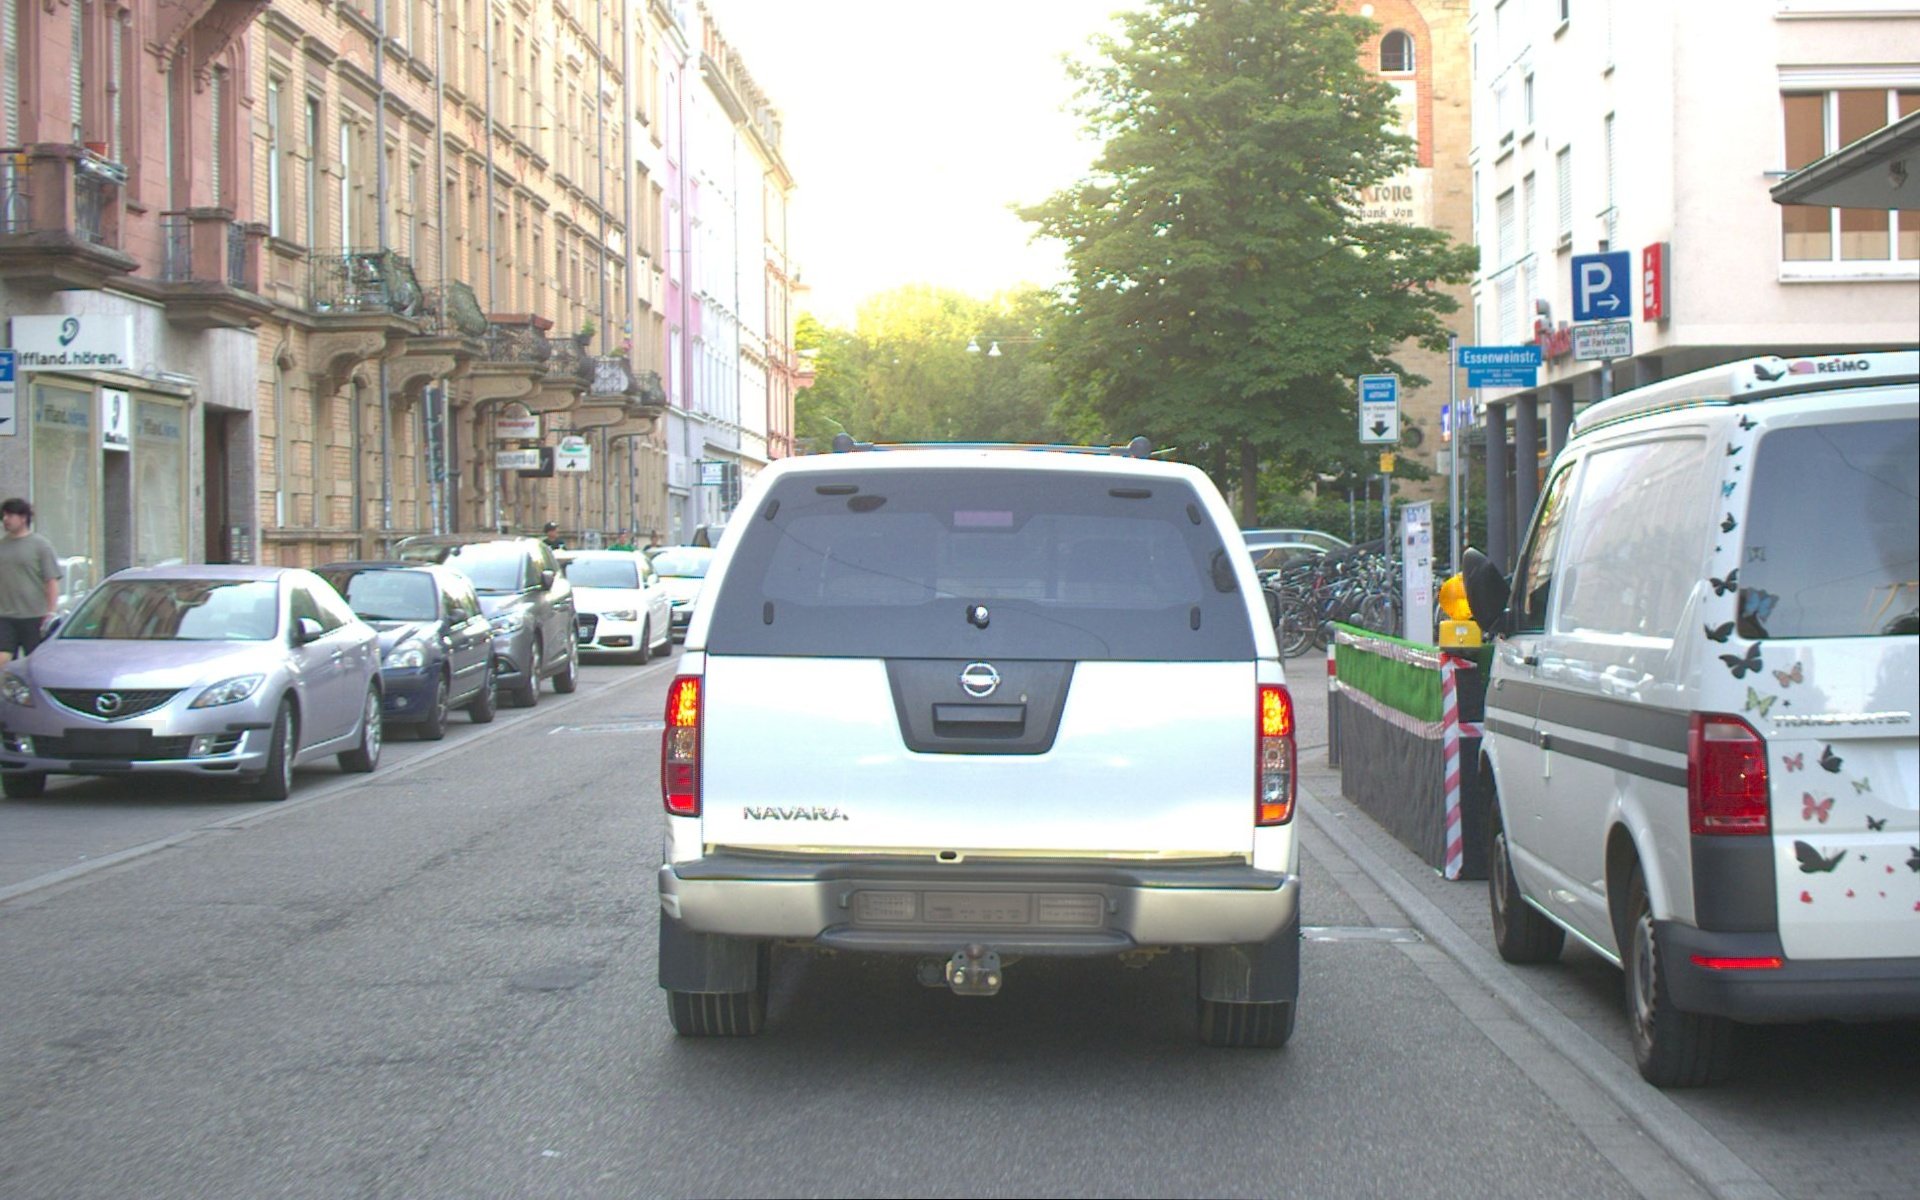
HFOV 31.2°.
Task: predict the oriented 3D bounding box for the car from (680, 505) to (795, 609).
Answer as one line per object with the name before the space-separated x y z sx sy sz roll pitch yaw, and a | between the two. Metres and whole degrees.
car | -4.311 -0.850 67.150 1.993 1.917 4.952 1 1 -1

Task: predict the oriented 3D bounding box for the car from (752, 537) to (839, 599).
car | -4.111 -0.806 86.295 1.834 1.453 4.206 2 1 1

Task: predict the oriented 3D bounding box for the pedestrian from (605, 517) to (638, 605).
pedestrian | -6.955 -0.805 70.677 0.580 1.765 0.998 2 2 -3

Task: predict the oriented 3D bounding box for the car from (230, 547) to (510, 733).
car | -4.857 0.286 28.720 1.585 1.416 3.696 0 1 2

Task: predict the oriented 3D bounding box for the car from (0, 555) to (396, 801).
car | -4.958 0.425 22.390 1.723 1.416 4.582 1 1 1

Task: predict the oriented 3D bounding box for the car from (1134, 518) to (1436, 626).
car | 5.072 -0.448 54.047 4.422 1.450 1.780 -3 1 -4

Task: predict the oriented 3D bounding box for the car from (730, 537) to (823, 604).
car | -4.031 -0.645 76.208 1.736 1.413 4.778 1 0 1

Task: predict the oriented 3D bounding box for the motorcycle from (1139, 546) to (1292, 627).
motorcycle | 3.712 -0.198 49.984 2.057 1.074 0.664 -3 0 -14

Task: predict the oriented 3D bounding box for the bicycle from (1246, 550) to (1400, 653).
bicycle | 4.243 0.017 40.258 1.722 1.114 0.707 -3 0 5

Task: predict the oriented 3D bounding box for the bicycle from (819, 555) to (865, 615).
bicycle | -2.246 -0.289 65.425 0.645 1.077 2.168 -2 1 3

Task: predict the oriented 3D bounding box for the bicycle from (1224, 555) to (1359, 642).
bicycle | 4.457 -0.023 46.280 1.719 1.028 0.667 -4 0 4

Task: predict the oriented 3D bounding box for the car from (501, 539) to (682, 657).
car | -4.710 -0.066 44.498 1.758 1.407 4.508 0 1 1

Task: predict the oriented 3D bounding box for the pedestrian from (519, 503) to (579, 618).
pedestrian | -6.340 -0.598 53.046 0.554 1.749 1.021 0 0 16

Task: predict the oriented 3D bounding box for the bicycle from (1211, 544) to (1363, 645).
bicycle | 4.277 -0.073 44.914 1.869 1.178 0.742 -4 0 6

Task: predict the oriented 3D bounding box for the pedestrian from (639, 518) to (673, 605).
pedestrian | -6.282 -0.801 70.965 0.605 1.766 0.777 2 2 -3

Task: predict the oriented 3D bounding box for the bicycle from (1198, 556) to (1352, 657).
bicycle | 3.760 0.075 41.133 1.722 1.114 0.707 -3 0 0

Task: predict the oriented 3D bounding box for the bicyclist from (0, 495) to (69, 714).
bicyclist | -7.500 0.037 27.456 0.708 1.724 0.843 0 0 -12

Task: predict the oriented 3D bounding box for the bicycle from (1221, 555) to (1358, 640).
bicycle | 4.484 -0.032 46.899 1.773 1.019 0.565 -4 0 4

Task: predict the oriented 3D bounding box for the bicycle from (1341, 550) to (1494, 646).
bicycle | 5.428 -0.022 40.825 1.722 1.050 0.653 -3 0 5

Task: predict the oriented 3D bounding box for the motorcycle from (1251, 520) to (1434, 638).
motorcycle | 5.443 -0.295 49.028 2.492 1.544 0.824 -3 0 4

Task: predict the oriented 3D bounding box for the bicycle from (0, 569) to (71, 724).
bicycle | -7.496 0.361 27.427 0.708 1.192 1.742 0 0 -12

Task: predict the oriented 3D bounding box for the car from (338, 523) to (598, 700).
car | -4.808 0.056 34.146 1.853 1.628 4.446 0 1 1

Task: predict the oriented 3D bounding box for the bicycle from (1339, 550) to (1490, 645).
bicycle | 5.478 -0.032 41.495 1.722 1.050 0.653 -3 0 5

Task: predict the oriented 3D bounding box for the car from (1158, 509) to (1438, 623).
car | 5.550 -0.568 56.797 4.399 1.642 1.746 -3 1 1

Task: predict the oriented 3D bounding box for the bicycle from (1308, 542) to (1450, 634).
bicycle | 5.483 -0.161 45.027 1.722 1.114 0.654 -3 0 -1

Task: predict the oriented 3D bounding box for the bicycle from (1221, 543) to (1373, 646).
bicycle | 4.327 -0.074 44.070 1.789 1.178 0.733 -4 0 12

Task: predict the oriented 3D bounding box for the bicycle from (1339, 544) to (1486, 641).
bicycle | 5.604 -0.098 42.649 1.722 1.114 0.653 -3 0 5

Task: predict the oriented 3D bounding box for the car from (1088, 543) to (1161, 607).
car | 4.123 -0.655 86.768 1.676 1.424 4.478 -4 1 2

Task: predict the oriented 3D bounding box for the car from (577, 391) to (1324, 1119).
car | 0.138 0.373 11.531 1.911 1.847 5.270 1 1 4

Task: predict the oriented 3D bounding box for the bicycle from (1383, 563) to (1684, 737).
bicycle | 3.974 0.355 23.897 1.943 1.131 0.656 -2 0 39

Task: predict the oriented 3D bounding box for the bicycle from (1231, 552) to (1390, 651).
bicycle | 4.265 0.013 41.908 1.809 1.114 0.707 -3 0 0

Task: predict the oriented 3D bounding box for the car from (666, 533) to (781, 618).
car | -4.208 -0.463 61.736 1.783 1.418 4.486 1 1 -1

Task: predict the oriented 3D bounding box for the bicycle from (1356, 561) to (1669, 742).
bicycle | 3.675 0.353 22.963 1.943 1.131 0.656 -2 0 39

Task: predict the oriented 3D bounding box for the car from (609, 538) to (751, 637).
car | -4.349 -0.219 53.836 1.717 1.452 4.000 1 1 2

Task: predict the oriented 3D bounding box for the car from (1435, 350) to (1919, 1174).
car | 2.788 0.305 10.772 1.959 1.967 5.002 -2 1 2

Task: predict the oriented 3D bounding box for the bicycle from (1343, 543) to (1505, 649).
bicycle | 5.370 -0.048 39.800 1.722 1.128 0.579 -3 0 -10

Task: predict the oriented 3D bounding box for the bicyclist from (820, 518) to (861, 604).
bicyclist | -2.268 -0.745 65.431 0.645 1.615 0.918 -2 1 3
